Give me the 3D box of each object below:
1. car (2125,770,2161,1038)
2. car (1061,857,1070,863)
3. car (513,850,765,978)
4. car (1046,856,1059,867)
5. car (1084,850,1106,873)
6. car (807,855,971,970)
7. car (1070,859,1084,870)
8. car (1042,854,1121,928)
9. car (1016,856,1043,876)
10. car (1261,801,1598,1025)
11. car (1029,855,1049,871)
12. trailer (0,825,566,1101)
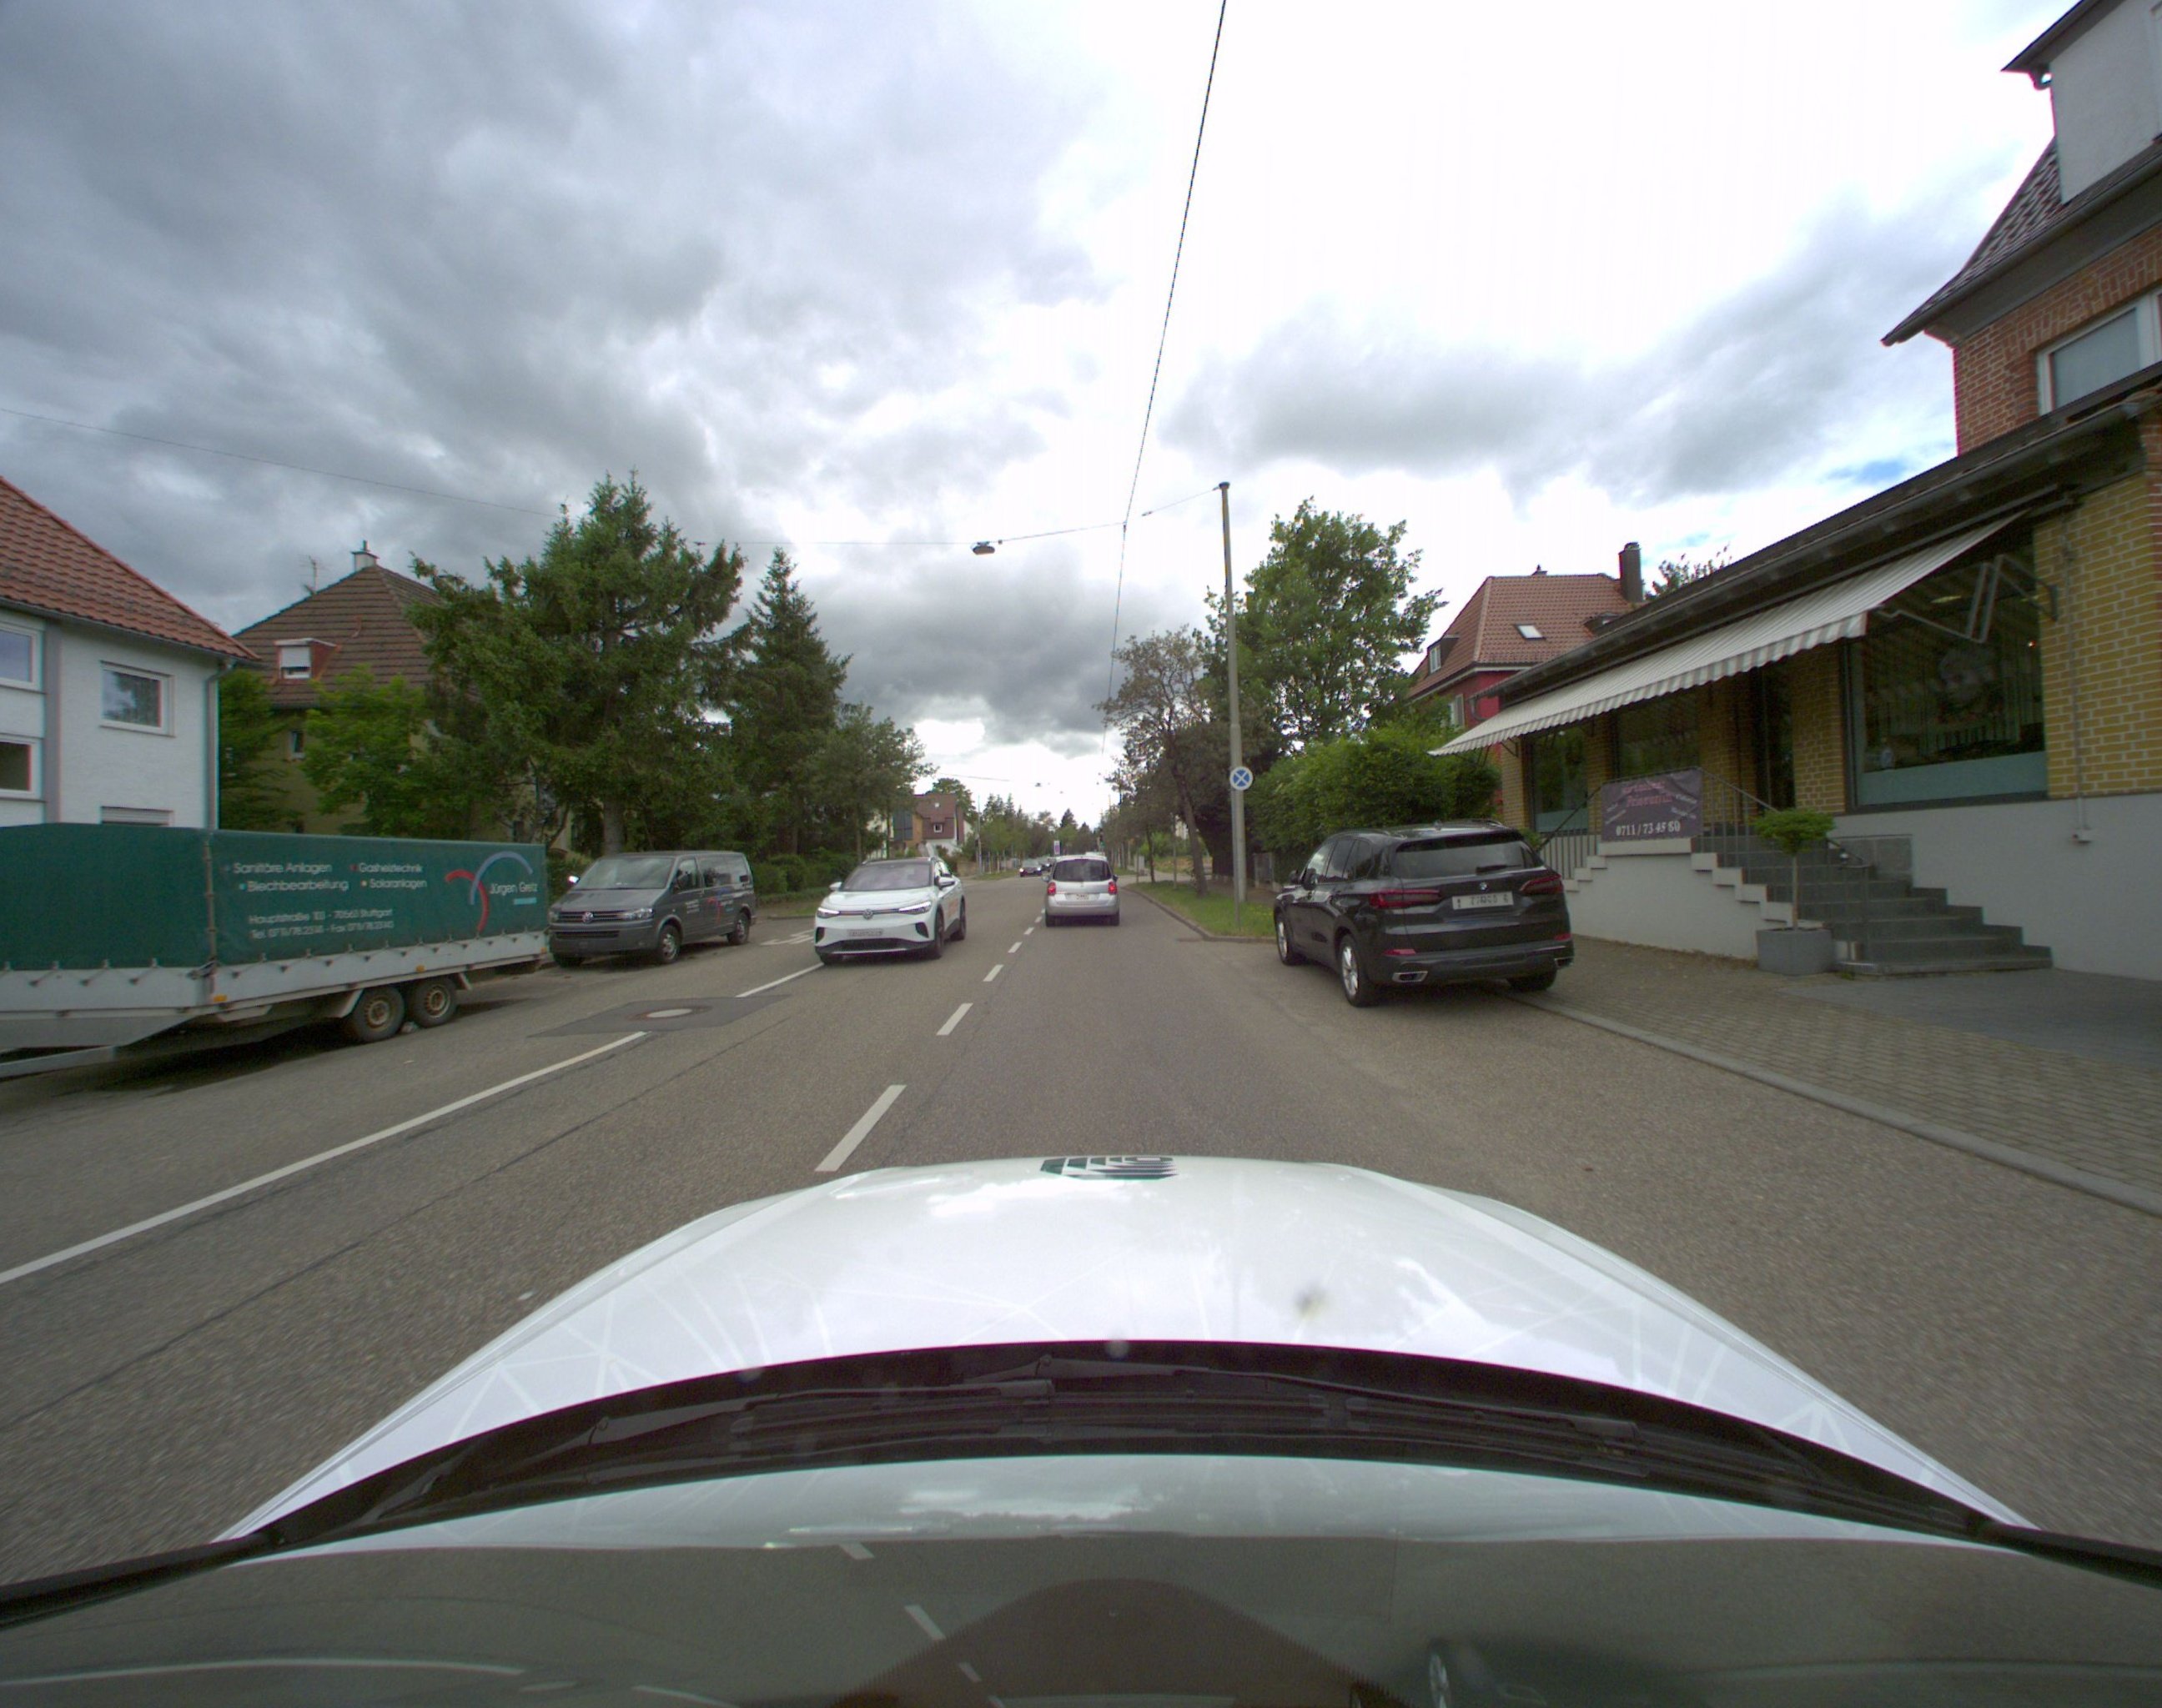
[{"bbox_3d":[8.249,0.164,4.396,3.346,1.633,1.578,-5,0,-5],"label":"car"},{"bbox_3d":[-4.102,1.594,217.043,1.694,1.506,3.961,-2,0,-8],"label":"car"},{"bbox_3d":[-7.952,0.951,15.348,1.987,1.949,4.898,-2,0,0],"label":"car"},{"bbox_3d":[-4.058,1.029,116.624,1.610,1.472,4.001,-2,0,1],"label":"car"},{"bbox_3d":[1.186,0.658,72.167,1.770,1.943,4.786,-1,0,-1],"label":"car"},{"bbox_3d":[-3.110,0.866,14.116,1.816,1.603,4.297,-2,0,-1],"label":"car"},{"bbox_3d":[-0.686,1.621,128.144,1.832,1.713,3.994,-3,0,-4],"label":"car"},{"bbox_3d":[0.006,0.792,19.211,1.674,1.560,3.511,-1,0,0],"label":"car"},{"bbox_3d":[-4.421,1.023,70.611,1.988,1.620,4.646,-2,0,-1],"label":"car"},{"bbox_3d":[3.555,0.506,9.507,1.891,1.837,4.917,-3,0,2],"label":"car"},{"bbox_3d":[-4.486,0.936,86.688,1.890,1.624,3.998,-2,0,-1],"label":"car"},{"bbox_3d":[-7.936,0.856,8.574,2.148,2.088,4.424,-2,0,0],"label":"trailer"}]
